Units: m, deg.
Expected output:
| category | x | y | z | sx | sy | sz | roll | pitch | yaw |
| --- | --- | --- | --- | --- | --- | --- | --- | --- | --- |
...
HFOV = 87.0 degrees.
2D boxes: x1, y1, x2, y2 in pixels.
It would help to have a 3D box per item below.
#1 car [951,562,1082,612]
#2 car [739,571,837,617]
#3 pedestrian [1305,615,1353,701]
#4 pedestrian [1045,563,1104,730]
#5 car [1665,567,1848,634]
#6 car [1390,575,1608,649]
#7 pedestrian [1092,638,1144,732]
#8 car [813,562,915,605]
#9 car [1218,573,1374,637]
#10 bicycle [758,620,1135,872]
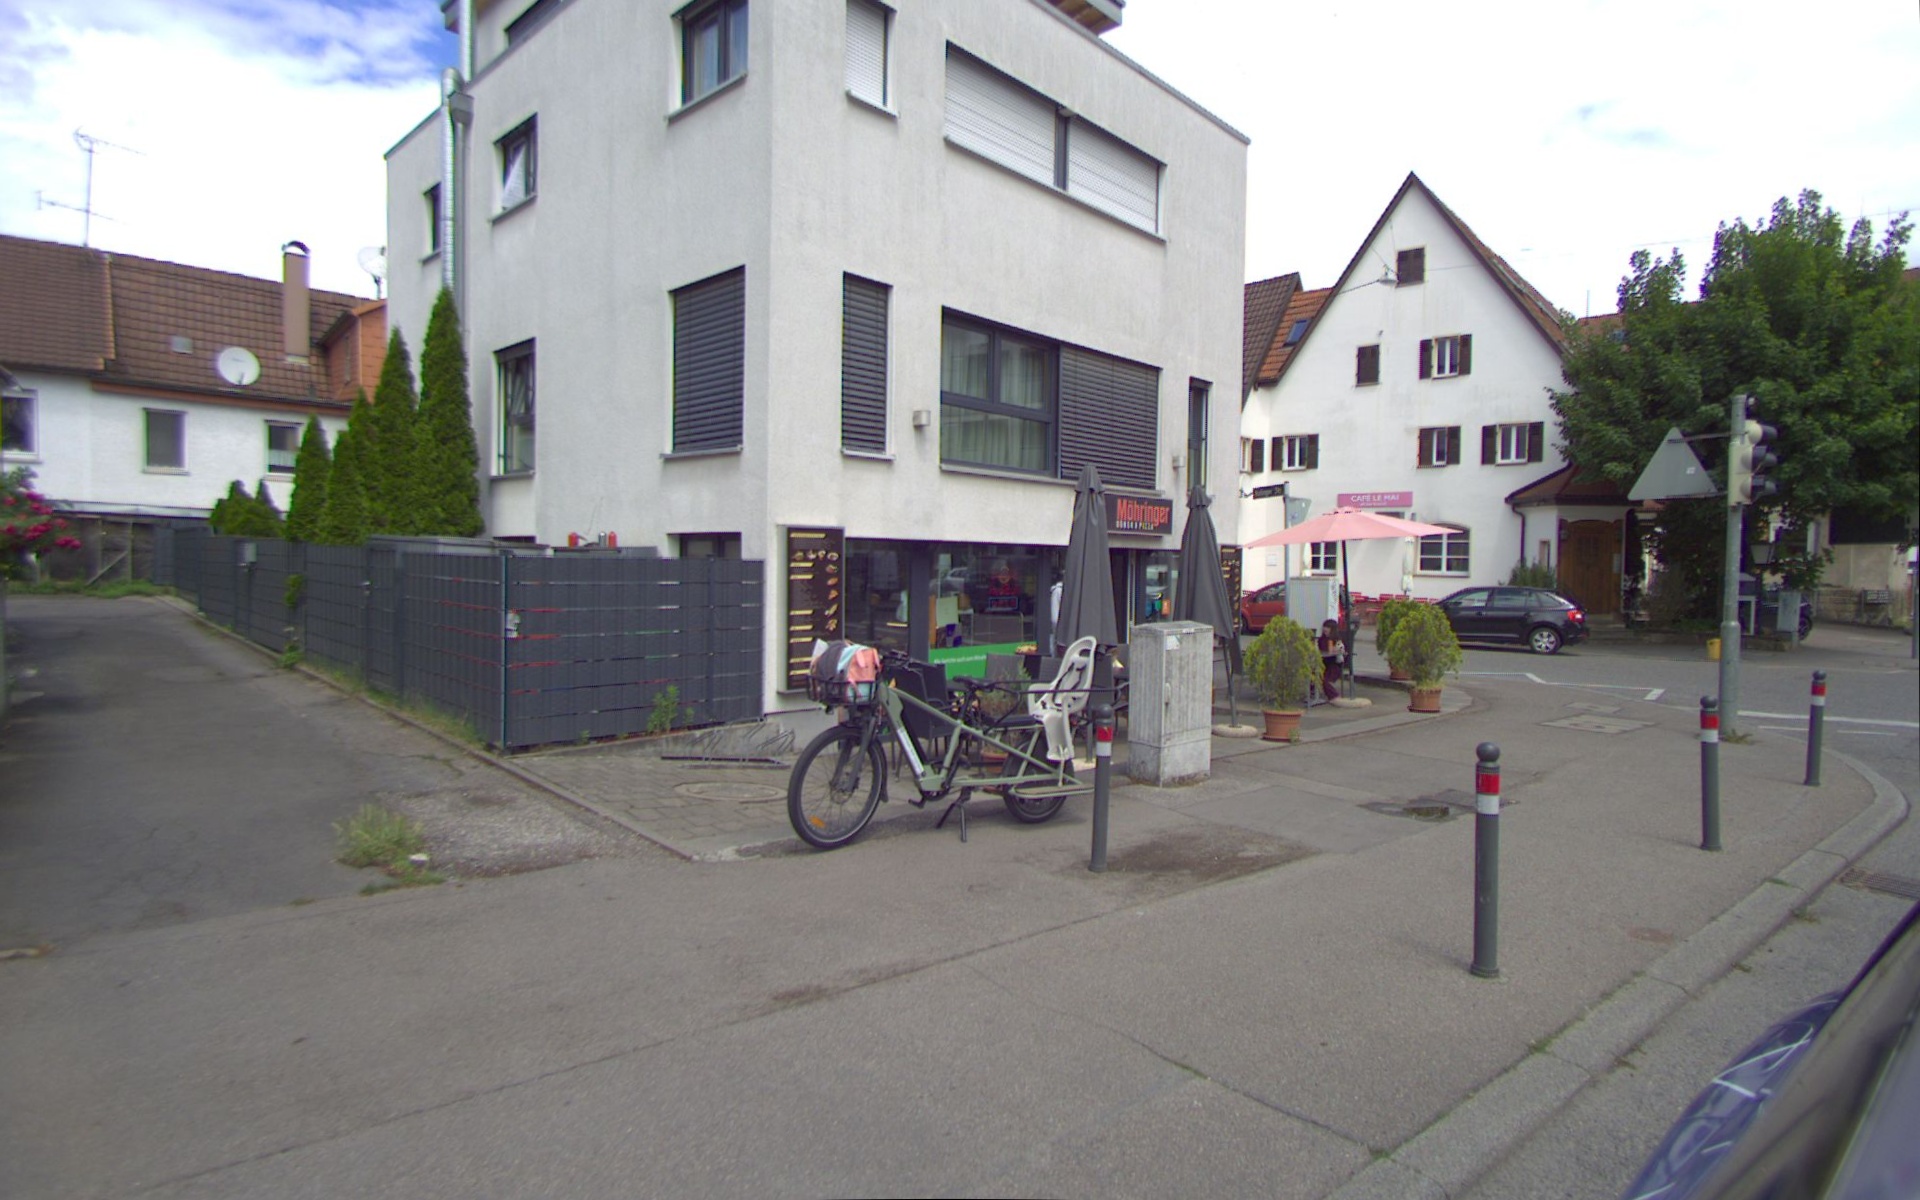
| category | x | y | z | sx | sy | sz | roll | pitch | yaw |
| --- | --- | --- | --- | --- | --- | --- | --- | --- | --- |
| car | 1.816 | -0.467 | 33.199 | 4.109 | 1.526 | 1.762 | 2 | 2 | 42 |
| car | -6.724 | -0.280 | 39.295 | 4.109 | 1.702 | 1.602 | 1 | 2 | 42 |
| pedestrian | 5.017 | 0.776 | 13.752 | 0.562 | 1.102 | 0.629 | 0 | 1 | 25 |
| pedestrian | 1.273 | 0.483 | 11.194 | 0.425 | 1.784 | 0.669 | 1 | 1 | 30 |
| car | 21.672 | -0.005 | 27.579 | 3.993 | 1.535 | 1.763 | 2 | 4 | -15 |
| car | 12.116 | 0.221 | 22.845 | 4.157 | 1.433 | 1.757 | 3 | 1 | 35 |
| pedestrian | 1.709 | 0.901 | 10.939 | 0.416 | 0.950 | 0.492 | 1 | 1 | 30 |
| car | -3.466 | -0.610 | 36.025 | 1.485 | 1.464 | 4.028 | -1 | 2 | -44 |
| car | 8.447 | 0.075 | 25.551 | 3.407 | 1.504 | 1.630 | 1 | 2 | 38 |
| bicycle | -0.022 | 0.740 | 5.919 | 2.171 | 1.164 | 0.723 | -1 | 2 | -34 |
